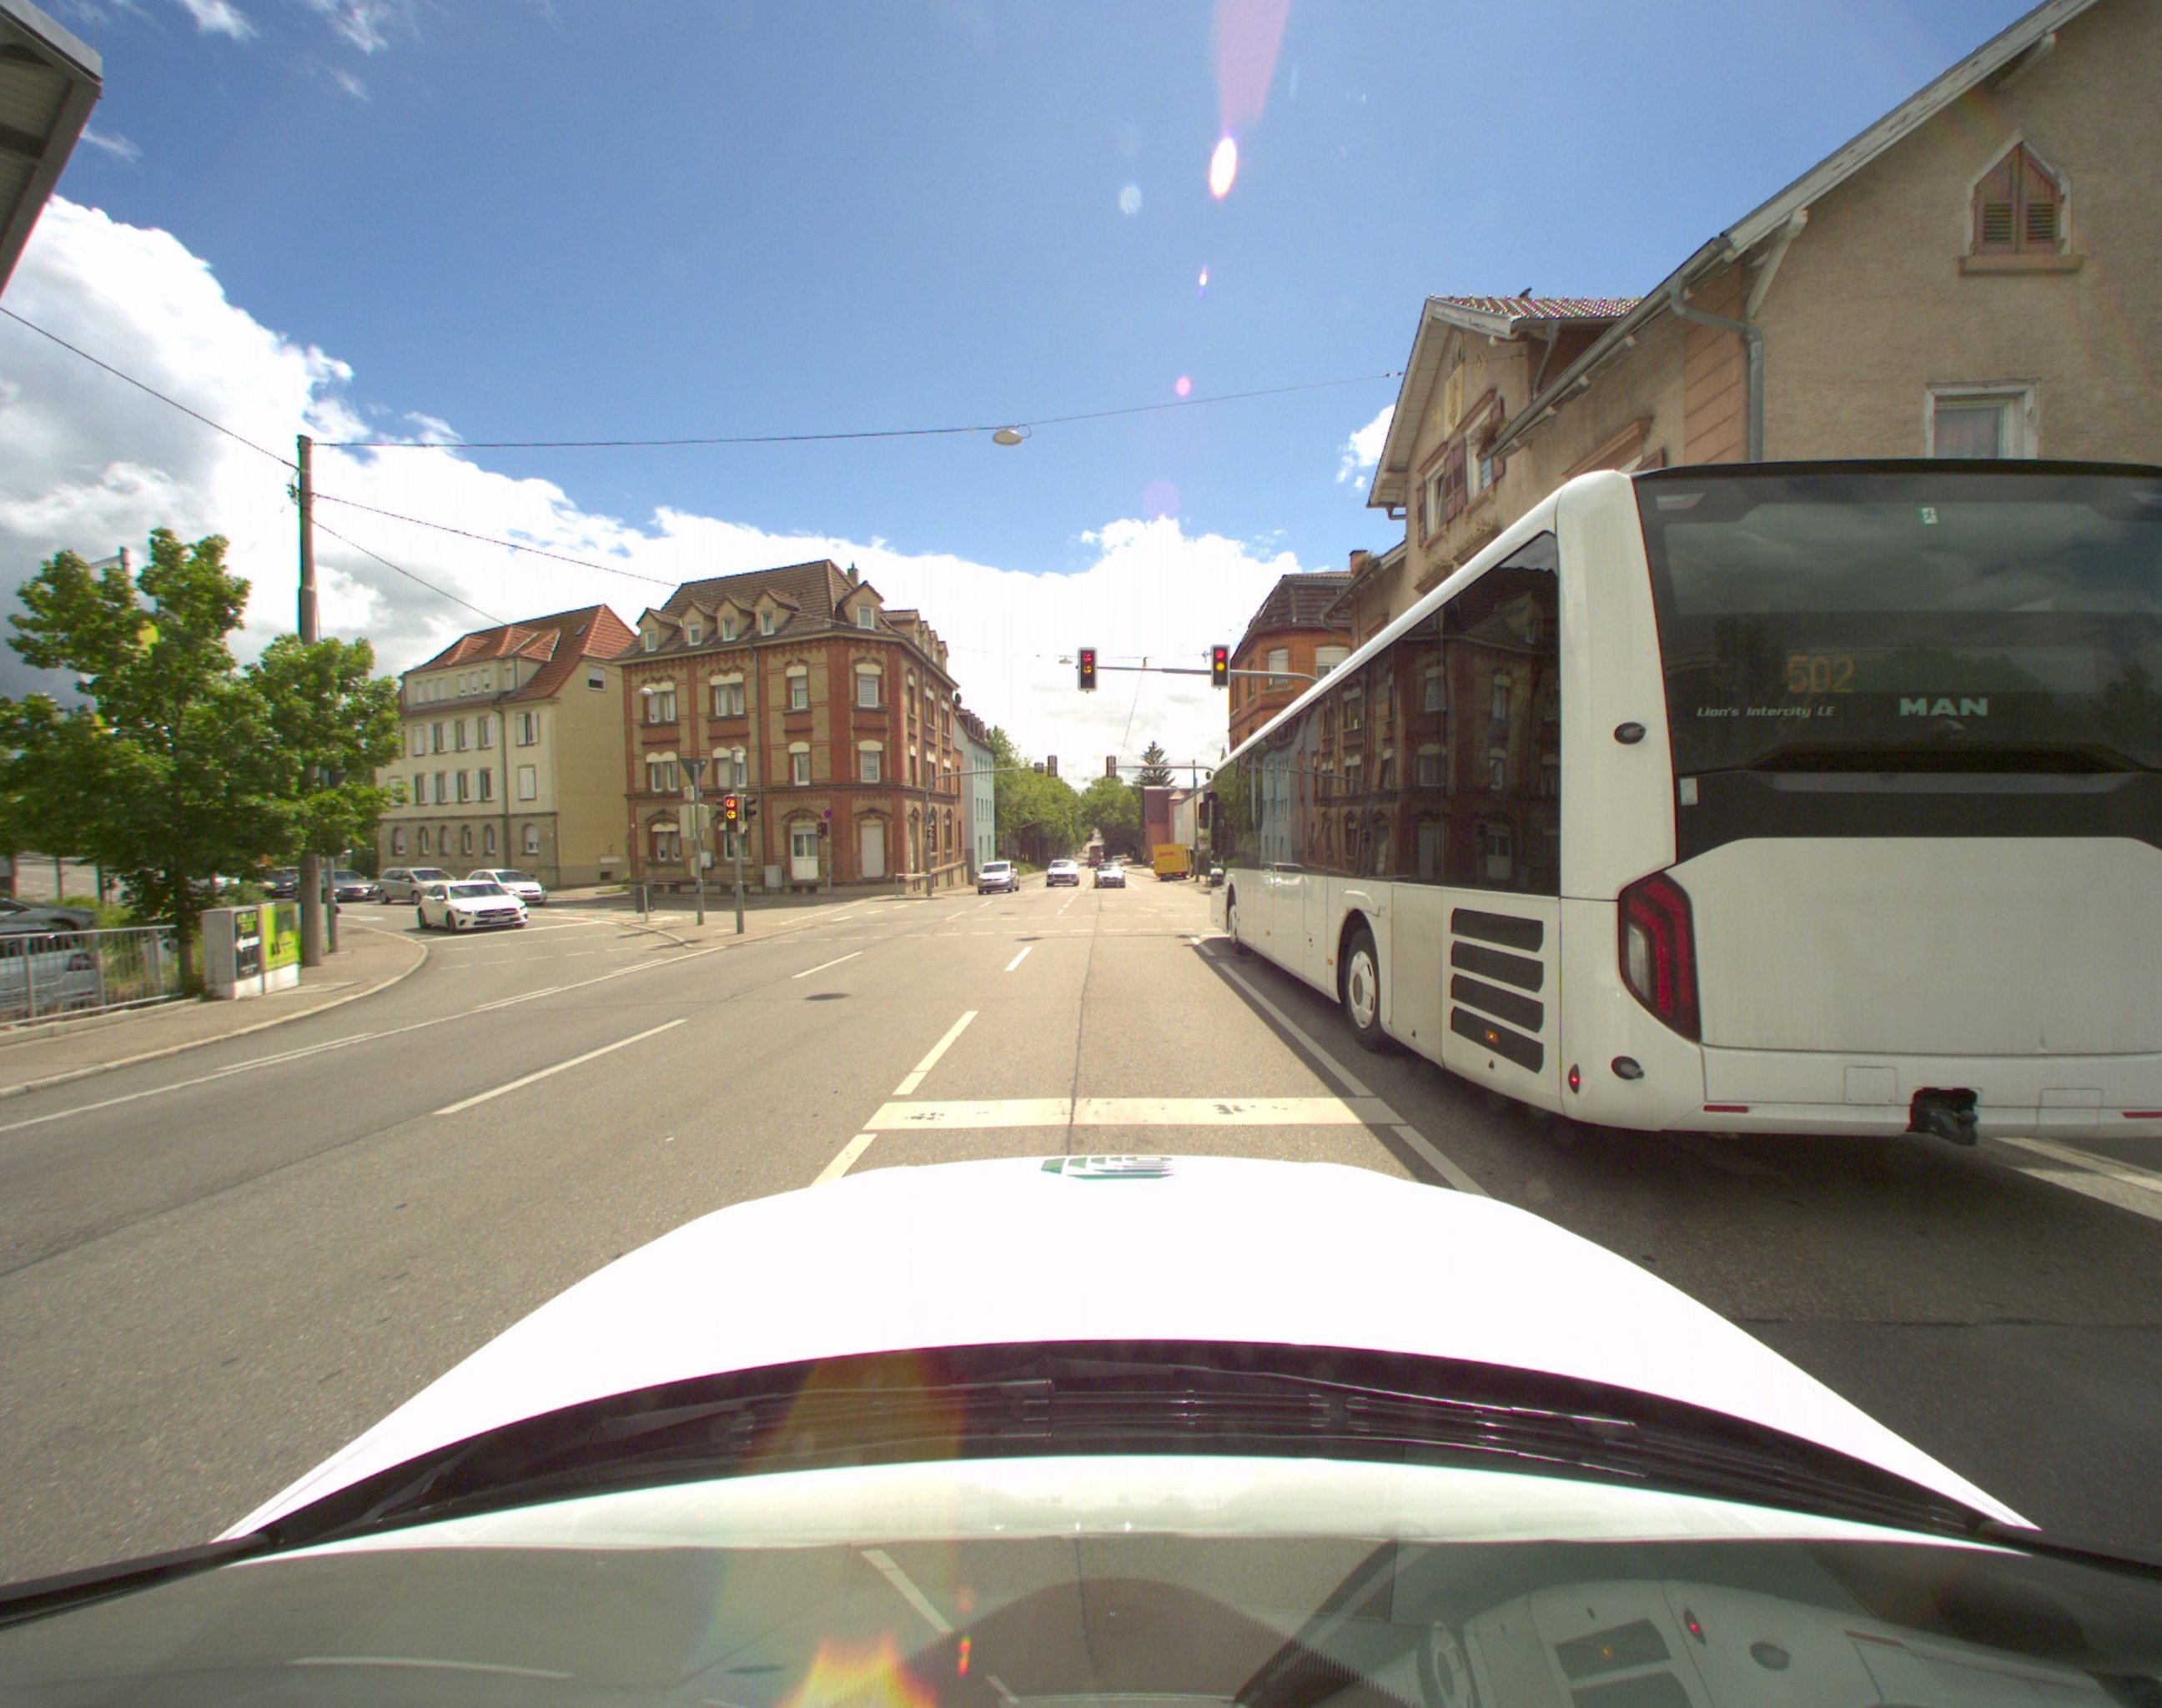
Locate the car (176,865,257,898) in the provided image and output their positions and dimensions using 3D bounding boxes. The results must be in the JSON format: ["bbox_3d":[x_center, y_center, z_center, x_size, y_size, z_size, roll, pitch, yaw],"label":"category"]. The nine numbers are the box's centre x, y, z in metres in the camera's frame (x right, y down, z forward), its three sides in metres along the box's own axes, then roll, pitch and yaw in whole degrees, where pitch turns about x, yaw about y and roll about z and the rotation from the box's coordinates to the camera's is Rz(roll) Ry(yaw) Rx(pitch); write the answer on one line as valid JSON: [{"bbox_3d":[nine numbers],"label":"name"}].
[{"bbox_3d":[-46.874,1.473,44.142,3.950,1.720,1.957,-1,0,27],"label":"car"}]

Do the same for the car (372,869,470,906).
[{"bbox_3d":[-29.206,1.471,36.052,3.951,1.519,1.757,-1,0,24],"label":"car"}]

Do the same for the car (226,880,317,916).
[{"bbox_3d":[-40.107,2.135,40.346,4.291,1.586,2.012,-1,0,29],"label":"car"}]

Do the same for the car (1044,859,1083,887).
[{"bbox_3d":[-1.070,1.181,52.444,2.199,1.613,4.549,-2,0,2],"label":"car"}]

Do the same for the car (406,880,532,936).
[{"bbox_3d":[-18.244,1.543,24.219,4.334,1.447,1.875,-2,0,37],"label":"car"}]

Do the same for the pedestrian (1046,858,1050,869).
[{"bbox_3d":[-5.612,1.626,136.807,0.604,1.758,0.653,-2,0,0],"label":"pedestrian"}]

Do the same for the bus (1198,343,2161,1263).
[{"bbox_3d":[3.515,-0.153,9.356,2.893,3.510,12.492,0,0,2],"label":"bus"}]

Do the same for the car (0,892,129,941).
[{"bbox_3d":[-29.252,1.733,22.218,1.795,1.186,4.025,-1,0,31],"label":"car"}]

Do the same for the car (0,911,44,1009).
[{"bbox_3d":[-19.710,1.834,14.156,3.744,1.523,1.526,-1,0,30],"label":"car"}]

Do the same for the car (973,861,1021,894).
[{"bbox_3d":[-4.413,1.209,43.575,1.928,1.563,4.390,-2,0,2],"label":"car"}]

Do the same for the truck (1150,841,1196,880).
[{"bbox_3d":[7.429,0.523,65.174,2.522,2.913,6.600,-1,-1,16],"label":"truck"}]

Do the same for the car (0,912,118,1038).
[{"bbox_3d":[-16.115,1.742,12.186,3.638,1.575,1.766,-1,-2,34],"label":"car"}]

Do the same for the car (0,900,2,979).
[{"bbox_3d":[-23.402,1.738,16.435,3.371,1.575,1.526,-1,0,30],"label":"car"}]

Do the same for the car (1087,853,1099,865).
[{"bbox_3d":[1.919,0.833,126.775,1.812,1.784,4.002,-2,0,2],"label":"car"}]

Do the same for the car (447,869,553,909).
[{"bbox_3d":[-23.598,1.393,33.065,3.951,1.497,1.711,-1,0,24],"label":"car"}]

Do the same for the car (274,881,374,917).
[{"bbox_3d":[-35.450,2.081,38.144,3.951,1.519,2.011,-1,0,24],"label":"car"}]

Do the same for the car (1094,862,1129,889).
[{"bbox_3d":[1.721,1.198,46.756,1.858,1.367,4.549,-2,0,2],"label":"car"}]

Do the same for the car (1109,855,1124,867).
[{"bbox_3d":[5.631,1.150,129.483,2.086,1.830,4.140,-1,0,-1],"label":"car"}]

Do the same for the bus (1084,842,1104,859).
[{"bbox_3d":[2.832,-0.805,183.740,3.295,3.631,11.223,-2,0,-5],"label":"bus"}]
